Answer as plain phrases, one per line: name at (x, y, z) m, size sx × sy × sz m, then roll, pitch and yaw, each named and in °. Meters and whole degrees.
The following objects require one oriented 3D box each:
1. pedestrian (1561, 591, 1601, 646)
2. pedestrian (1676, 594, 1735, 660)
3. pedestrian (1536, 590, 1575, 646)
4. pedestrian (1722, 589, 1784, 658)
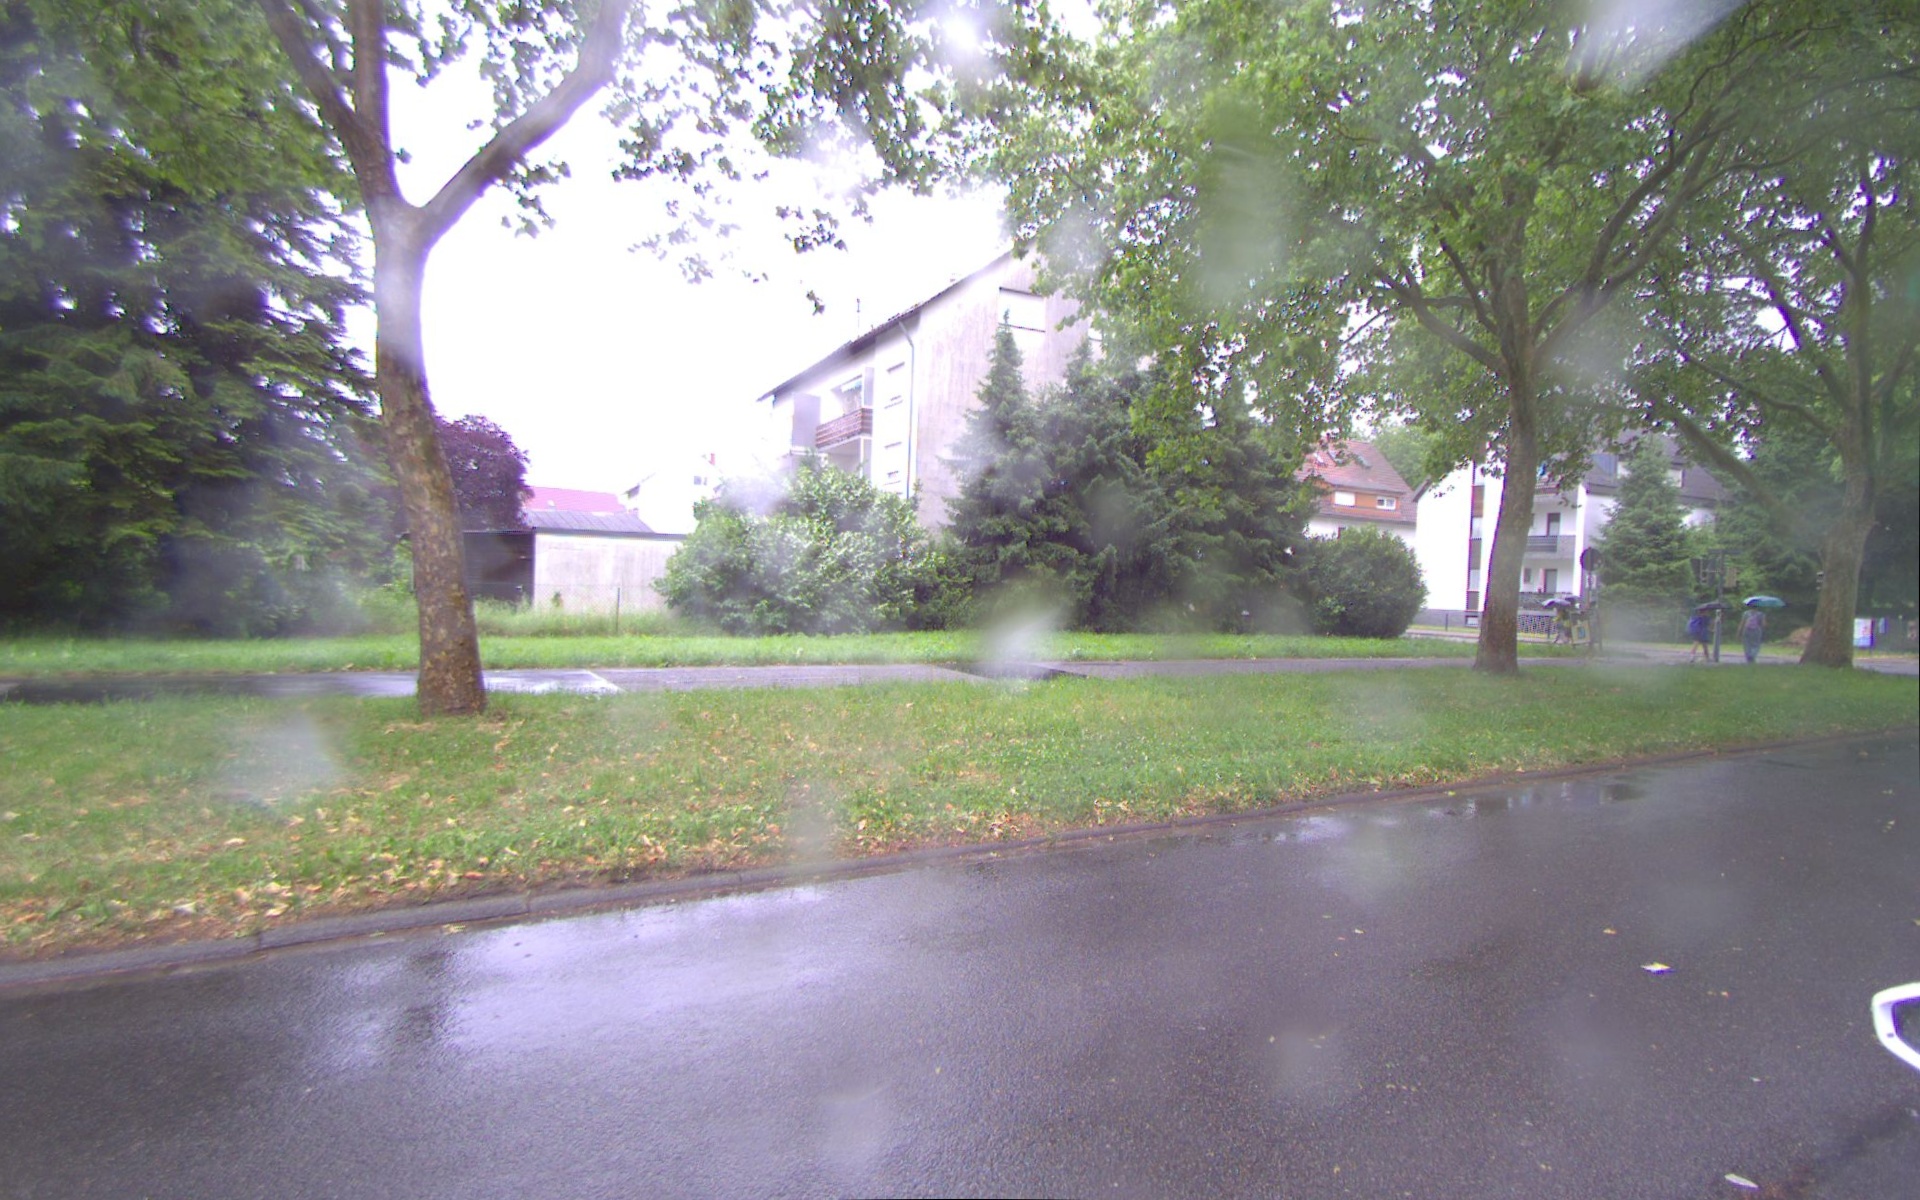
pedestrian at (20.415, 0.599, 33.020) m, size 0.633 × 1.768 × 0.854 m, roll 1°, pitch 1°, yaw -33°
pedestrian at (20.681, 0.737, 27.877) m, size 0.869 × 1.789 × 1.028 m, roll 1°, pitch 1°, yaw -30°
pedestrian at (19.364, 0.582, 32.662) m, size 0.633 × 1.768 × 0.815 m, roll 1°, pitch 1°, yaw -33°
pedestrian at (21.158, 0.617, 26.798) m, size 0.828 × 1.789 × 1.028 m, roll 1°, pitch 1°, yaw -30°
